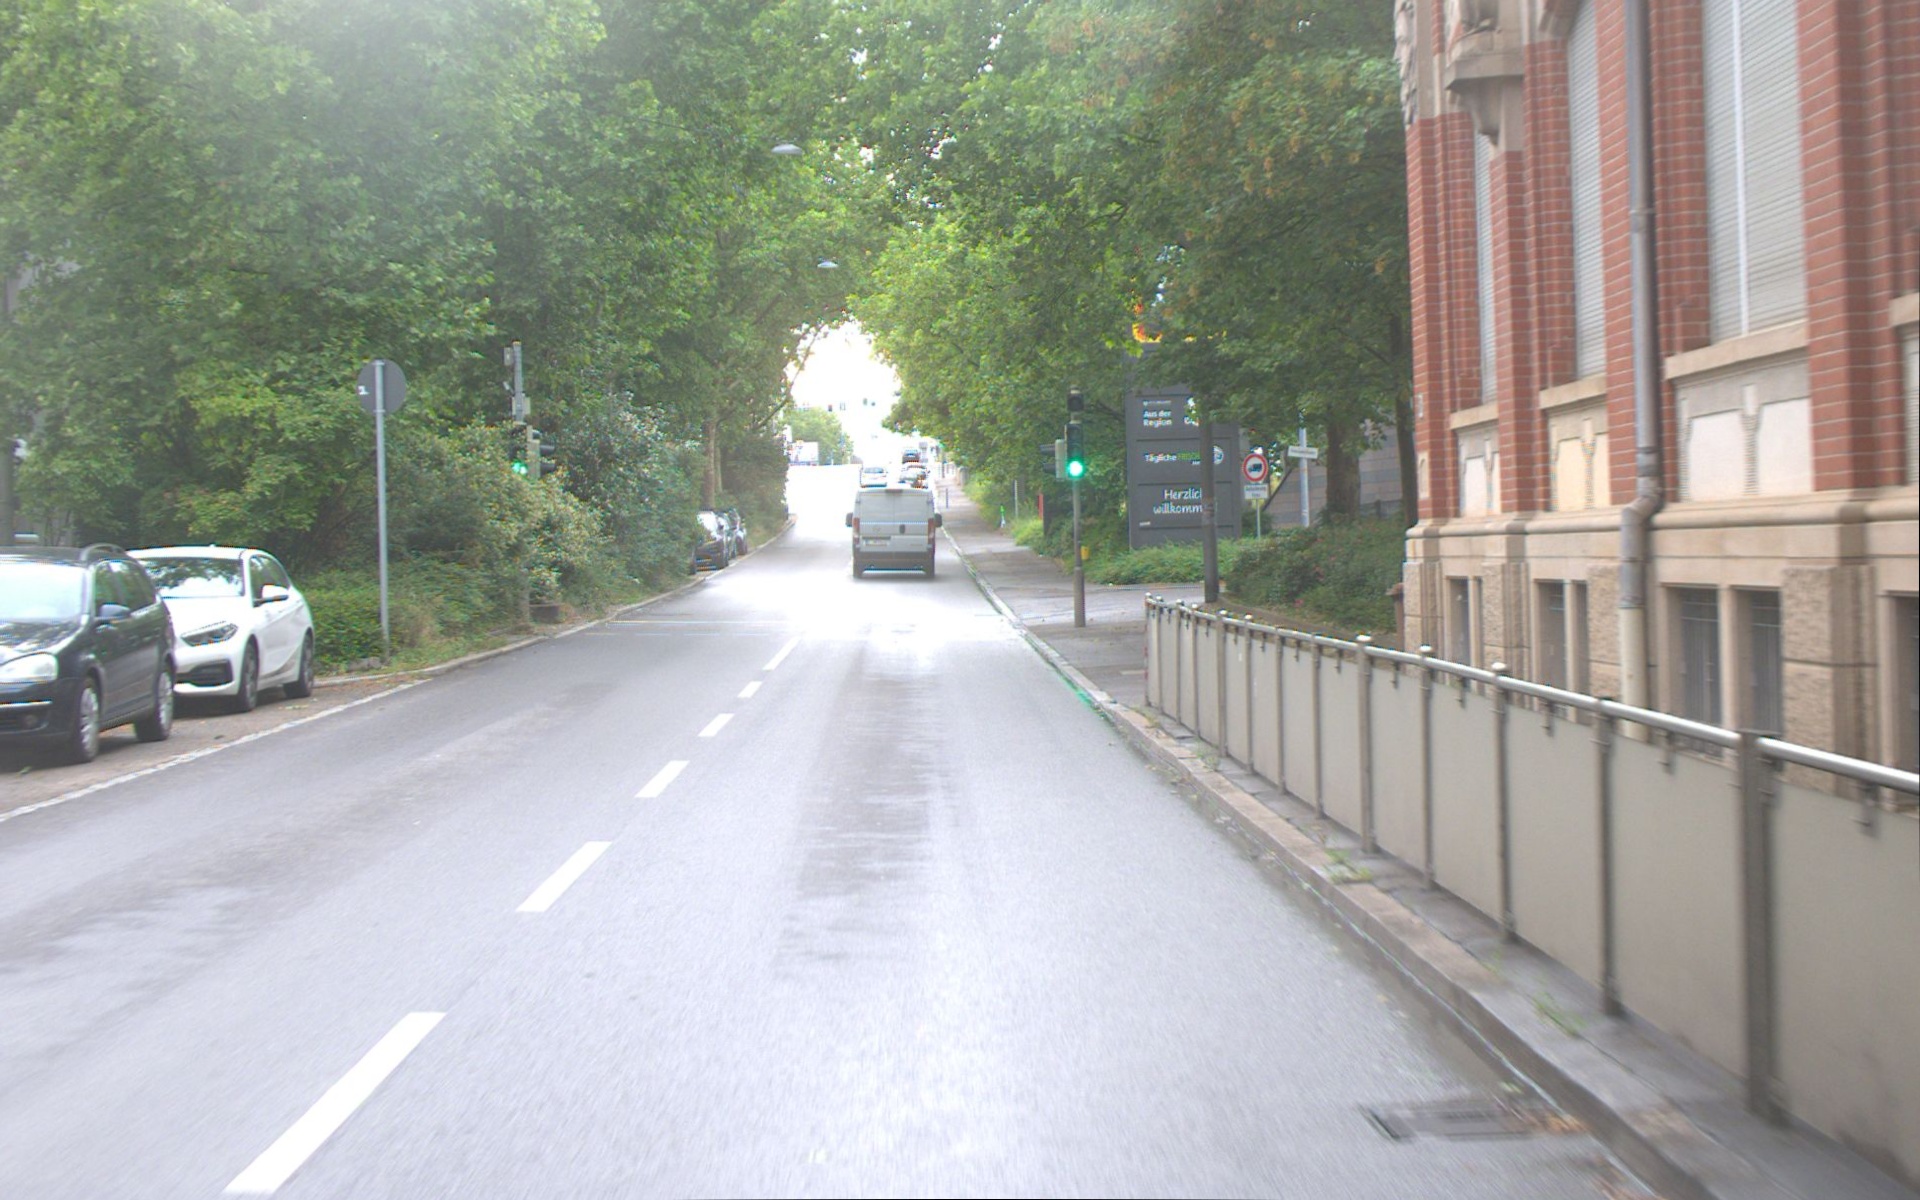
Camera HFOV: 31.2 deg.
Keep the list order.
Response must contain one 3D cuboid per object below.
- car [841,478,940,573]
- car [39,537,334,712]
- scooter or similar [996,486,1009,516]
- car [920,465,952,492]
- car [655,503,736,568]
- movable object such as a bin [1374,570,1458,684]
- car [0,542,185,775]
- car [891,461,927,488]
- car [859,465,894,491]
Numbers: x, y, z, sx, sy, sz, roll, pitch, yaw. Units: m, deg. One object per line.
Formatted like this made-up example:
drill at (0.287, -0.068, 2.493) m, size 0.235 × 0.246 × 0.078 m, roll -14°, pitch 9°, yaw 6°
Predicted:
car at (-1.705, -1.845, 85.677) m, size 2.336 × 2.223 × 4.000 m, roll -2°, pitch 1°, yaw 0°
car at (-6.957, 0.167, 31.318) m, size 1.717 × 1.462 × 4.310 m, roll 0°, pitch 1°, yaw 0°
scooter or similar at (1.671, -3.887, 135.420) m, size 0.425 × 1.138 × 1.529 m, roll 1°, pitch 0°, yaw -3°
car at (-1.675, -8.491, 240.573) m, size 1.930 × 1.703 × 3.873 m, roll 1°, pitch 0°, yaw 3°
car at (-7.174, -1.776, 93.424) m, size 1.864 × 1.585 × 4.240 m, roll -3°, pitch 2°, yaw -1°
movable object such as a bin at (3.913, 0.226, 29.520) m, size 0.590 × 0.929 × 0.572 m, roll -3°, pitch 1°, yaw -1°
car at (-6.722, 0.341, 24.053) m, size 1.716 × 1.462 × 4.234 m, roll 0°, pitch 1°, yaw -1°
car at (-3.468, -8.470, 232.475) m, size 2.149 × 1.703 × 3.873 m, roll 1°, pitch 0°, yaw 3°
car at (-5.825, -8.547, 240.735) m, size 2.159 × 1.703 × 3.873 m, roll 1°, pitch 0°, yaw 3°
